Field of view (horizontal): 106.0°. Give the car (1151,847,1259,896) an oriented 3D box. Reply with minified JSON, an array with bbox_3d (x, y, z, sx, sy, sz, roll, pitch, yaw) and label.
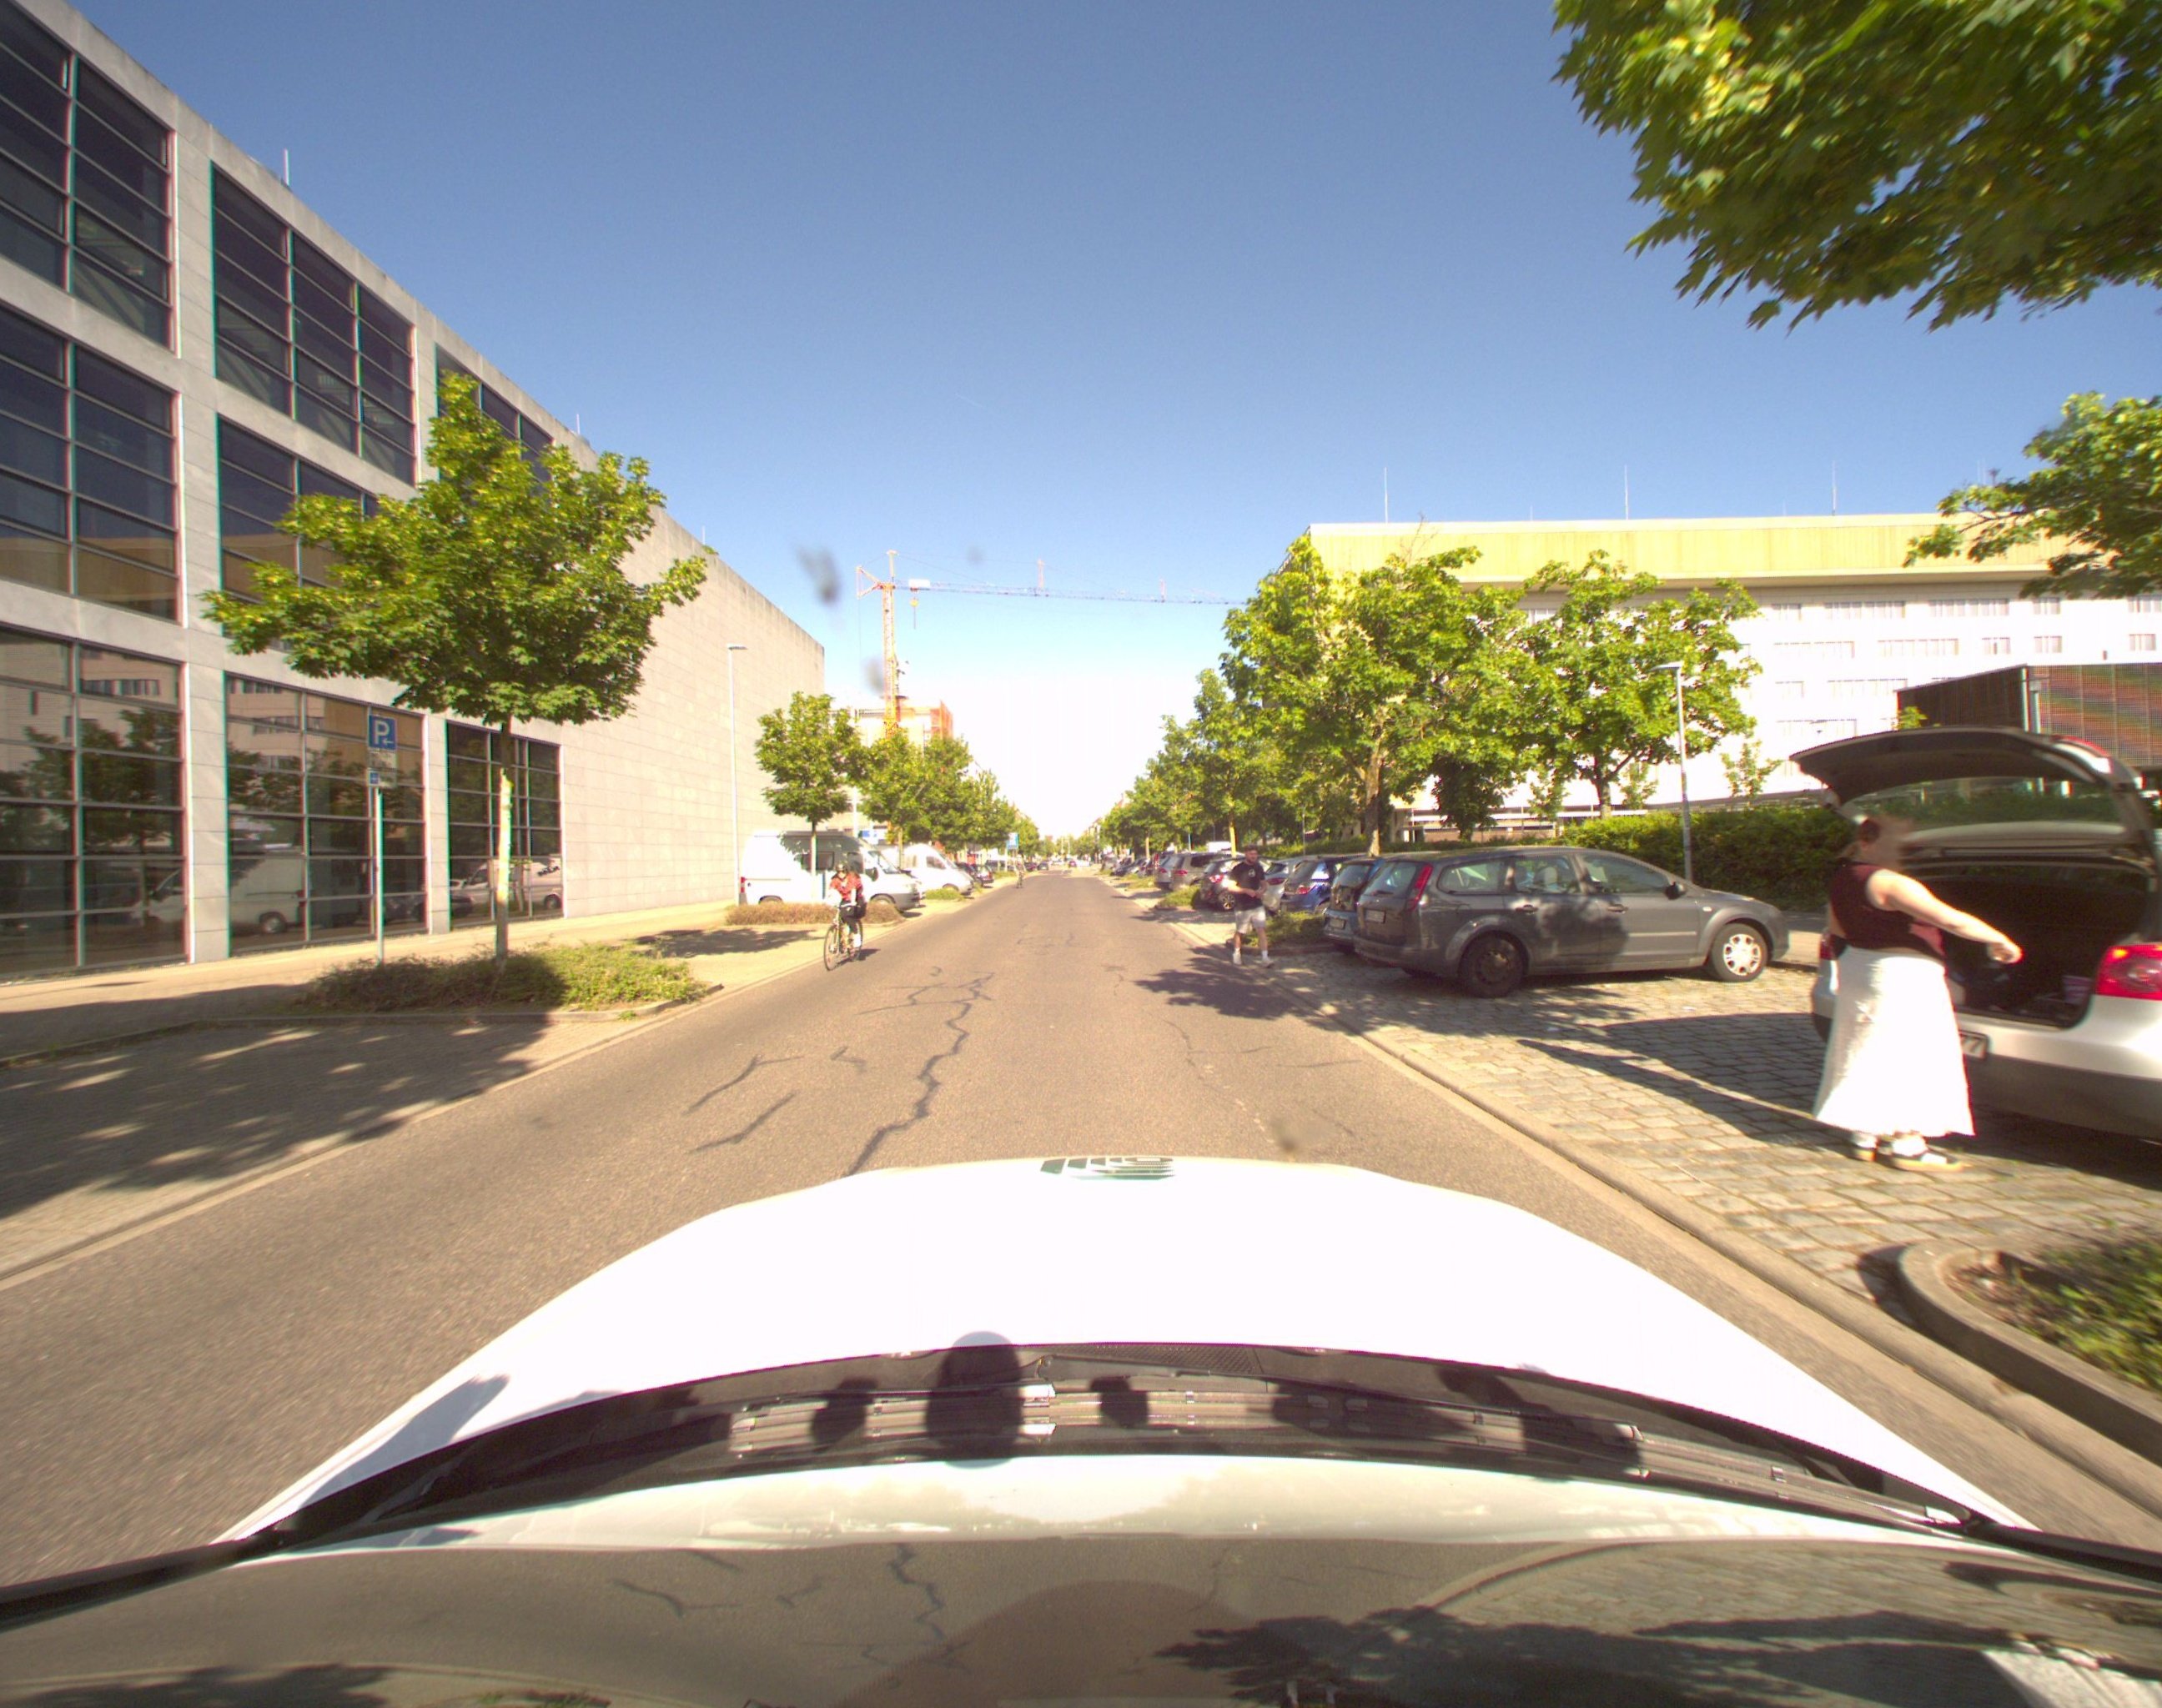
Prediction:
[{"bbox_3d":[4.827,0.661,32.124,3.890,1.695,1.938,-2,1,-3],"label":"car"}]

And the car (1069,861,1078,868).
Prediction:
[{"bbox_3d":[-1.593,2.356,179.579,1.806,1.474,4.110,-2,0,0],"label":"car"}]

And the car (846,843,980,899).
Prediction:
[{"bbox_3d":[-7.387,0.731,36.217,5.531,2.410,1.988,0,0,1],"label":"car"}]

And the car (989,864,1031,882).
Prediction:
[{"bbox_3d":[-7.374,1.952,85.143,4.250,1.665,1.598,-2,0,-2],"label":"car"}]

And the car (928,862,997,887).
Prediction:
[{"bbox_3d":[-7.332,1.261,50.763,4.122,1.492,1.866,0,1,-4],"label":"car"}]

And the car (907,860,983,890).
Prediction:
[{"bbox_3d":[-7.710,1.184,46.377,3.971,1.664,1.829,0,-1,2],"label":"car"}]

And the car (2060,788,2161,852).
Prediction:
[{"bbox_3d":[43.705,-1.395,33.691,3.621,2.491,2.233,-2,0,1],"label":"car"}]

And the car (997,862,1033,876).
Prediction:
[{"bbox_3d":[-8.087,1.814,100.088,4.323,1.474,1.815,-2,0,-5],"label":"car"}]

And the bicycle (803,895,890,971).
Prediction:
[{"bbox_3d":[-3.708,1.225,13.042,0.754,1.002,1.872,-3,0,1],"label":"bicycle"}]

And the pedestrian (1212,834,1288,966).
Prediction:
[{"bbox_3d":[2.413,0.634,11.741,0.717,1.771,1.167,-3,-1,-2],"label":"pedestrian"}]

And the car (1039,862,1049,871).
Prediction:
[{"bbox_3d":[-6.946,2.393,152.815,1.807,1.474,4.108,-2,0,-2],"label":"car"}]

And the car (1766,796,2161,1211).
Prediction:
[{"bbox_3d":[5.994,0.488,4.024,3.890,1.577,1.678,-2,1,-3],"label":"car"}]

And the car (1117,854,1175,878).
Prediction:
[{"bbox_3d":[4.874,0.858,61.255,4.134,1.580,1.739,-3,0,-2],"label":"car"}]

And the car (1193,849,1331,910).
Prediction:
[{"bbox_3d":[5.073,0.717,23.134,3.445,1.489,1.745,-3,-1,-3],"label":"car"}]

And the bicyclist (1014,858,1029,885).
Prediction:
[{"bbox_3d":[-3.525,1.032,48.221,0.680,1.581,1.062,-3,-1,4],"label":"bicyclist"}]

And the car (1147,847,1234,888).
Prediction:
[{"bbox_3d":[5.623,0.682,42.058,4.109,1.927,1.977,-2,1,-3],"label":"car"}]

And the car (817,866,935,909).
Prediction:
[{"bbox_3d":[-7.406,1.193,29.687,3.816,1.472,1.849,0,0,1],"label":"car"}]

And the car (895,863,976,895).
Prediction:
[{"bbox_3d":[-7.791,1.336,43.886,3.974,1.517,1.855,-2,-1,0],"label":"car"}]

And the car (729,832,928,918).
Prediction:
[{"bbox_3d":[-7.410,0.608,24.350,5.231,2.418,2.123,0,-1,0],"label":"car"}]

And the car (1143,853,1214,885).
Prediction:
[{"bbox_3d":[5.318,0.814,44.547,3.598,1.549,1.705,-2,1,-3],"label":"car"}]

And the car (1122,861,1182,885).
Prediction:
[{"bbox_3d":[4.886,1.277,56.196,3.890,1.486,1.741,-2,0,-2],"label":"car"}]

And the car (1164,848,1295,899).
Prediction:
[{"bbox_3d":[5.347,0.692,29.688,4.313,1.608,1.909,-3,-1,-5],"label":"car"}]

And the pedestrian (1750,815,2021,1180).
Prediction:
[{"bbox_3d":[3.860,0.619,3.986,0.757,1.579,0.678,-1,1,27],"label":"pedestrian"}]

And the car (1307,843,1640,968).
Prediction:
[{"bbox_3d":[5.352,0.652,11.390,3.890,1.468,1.620,-2,1,-3],"label":"car"}]

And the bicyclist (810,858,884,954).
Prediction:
[{"bbox_3d":[-3.730,0.794,13.069,0.754,1.431,1.132,-3,-1,1],"label":"bicyclist"}]

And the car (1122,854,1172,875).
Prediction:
[{"bbox_3d":[5.493,0.899,68.175,3.975,1.538,1.861,-2,-1,-1],"label":"car"}]

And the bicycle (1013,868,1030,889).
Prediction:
[{"bbox_3d":[-3.508,1.436,48.163,0.695,1.111,2.081,-3,-1,4],"label":"bicycle"}]

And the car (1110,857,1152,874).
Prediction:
[{"bbox_3d":[4.598,1.086,75.371,3.755,1.459,1.816,-2,-1,-2],"label":"car"}]

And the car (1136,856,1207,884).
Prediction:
[{"bbox_3d":[5.439,0.943,49.143,4.048,1.426,1.742,-3,-1,0],"label":"car"}]

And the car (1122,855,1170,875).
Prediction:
[{"bbox_3d":[5.609,0.930,70.835,3.975,1.582,2.031,-2,-1,-1],"label":"car"}]

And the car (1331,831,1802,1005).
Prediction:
[{"bbox_3d":[5.143,0.631,8.992,4.176,1.519,1.735,-3,0,-3],"label":"car"}]

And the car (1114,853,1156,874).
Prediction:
[{"bbox_3d":[5.234,0.953,79.423,3.975,1.879,1.682,-2,0,-1],"label":"car"}]

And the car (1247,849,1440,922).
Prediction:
[{"bbox_3d":[5.797,0.677,18.330,3.720,1.416,1.842,-2,0,0],"label":"car"}]

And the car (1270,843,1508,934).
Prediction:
[{"bbox_3d":[5.830,0.626,15.768,3.882,1.497,1.842,-2,0,0],"label":"car"}]
